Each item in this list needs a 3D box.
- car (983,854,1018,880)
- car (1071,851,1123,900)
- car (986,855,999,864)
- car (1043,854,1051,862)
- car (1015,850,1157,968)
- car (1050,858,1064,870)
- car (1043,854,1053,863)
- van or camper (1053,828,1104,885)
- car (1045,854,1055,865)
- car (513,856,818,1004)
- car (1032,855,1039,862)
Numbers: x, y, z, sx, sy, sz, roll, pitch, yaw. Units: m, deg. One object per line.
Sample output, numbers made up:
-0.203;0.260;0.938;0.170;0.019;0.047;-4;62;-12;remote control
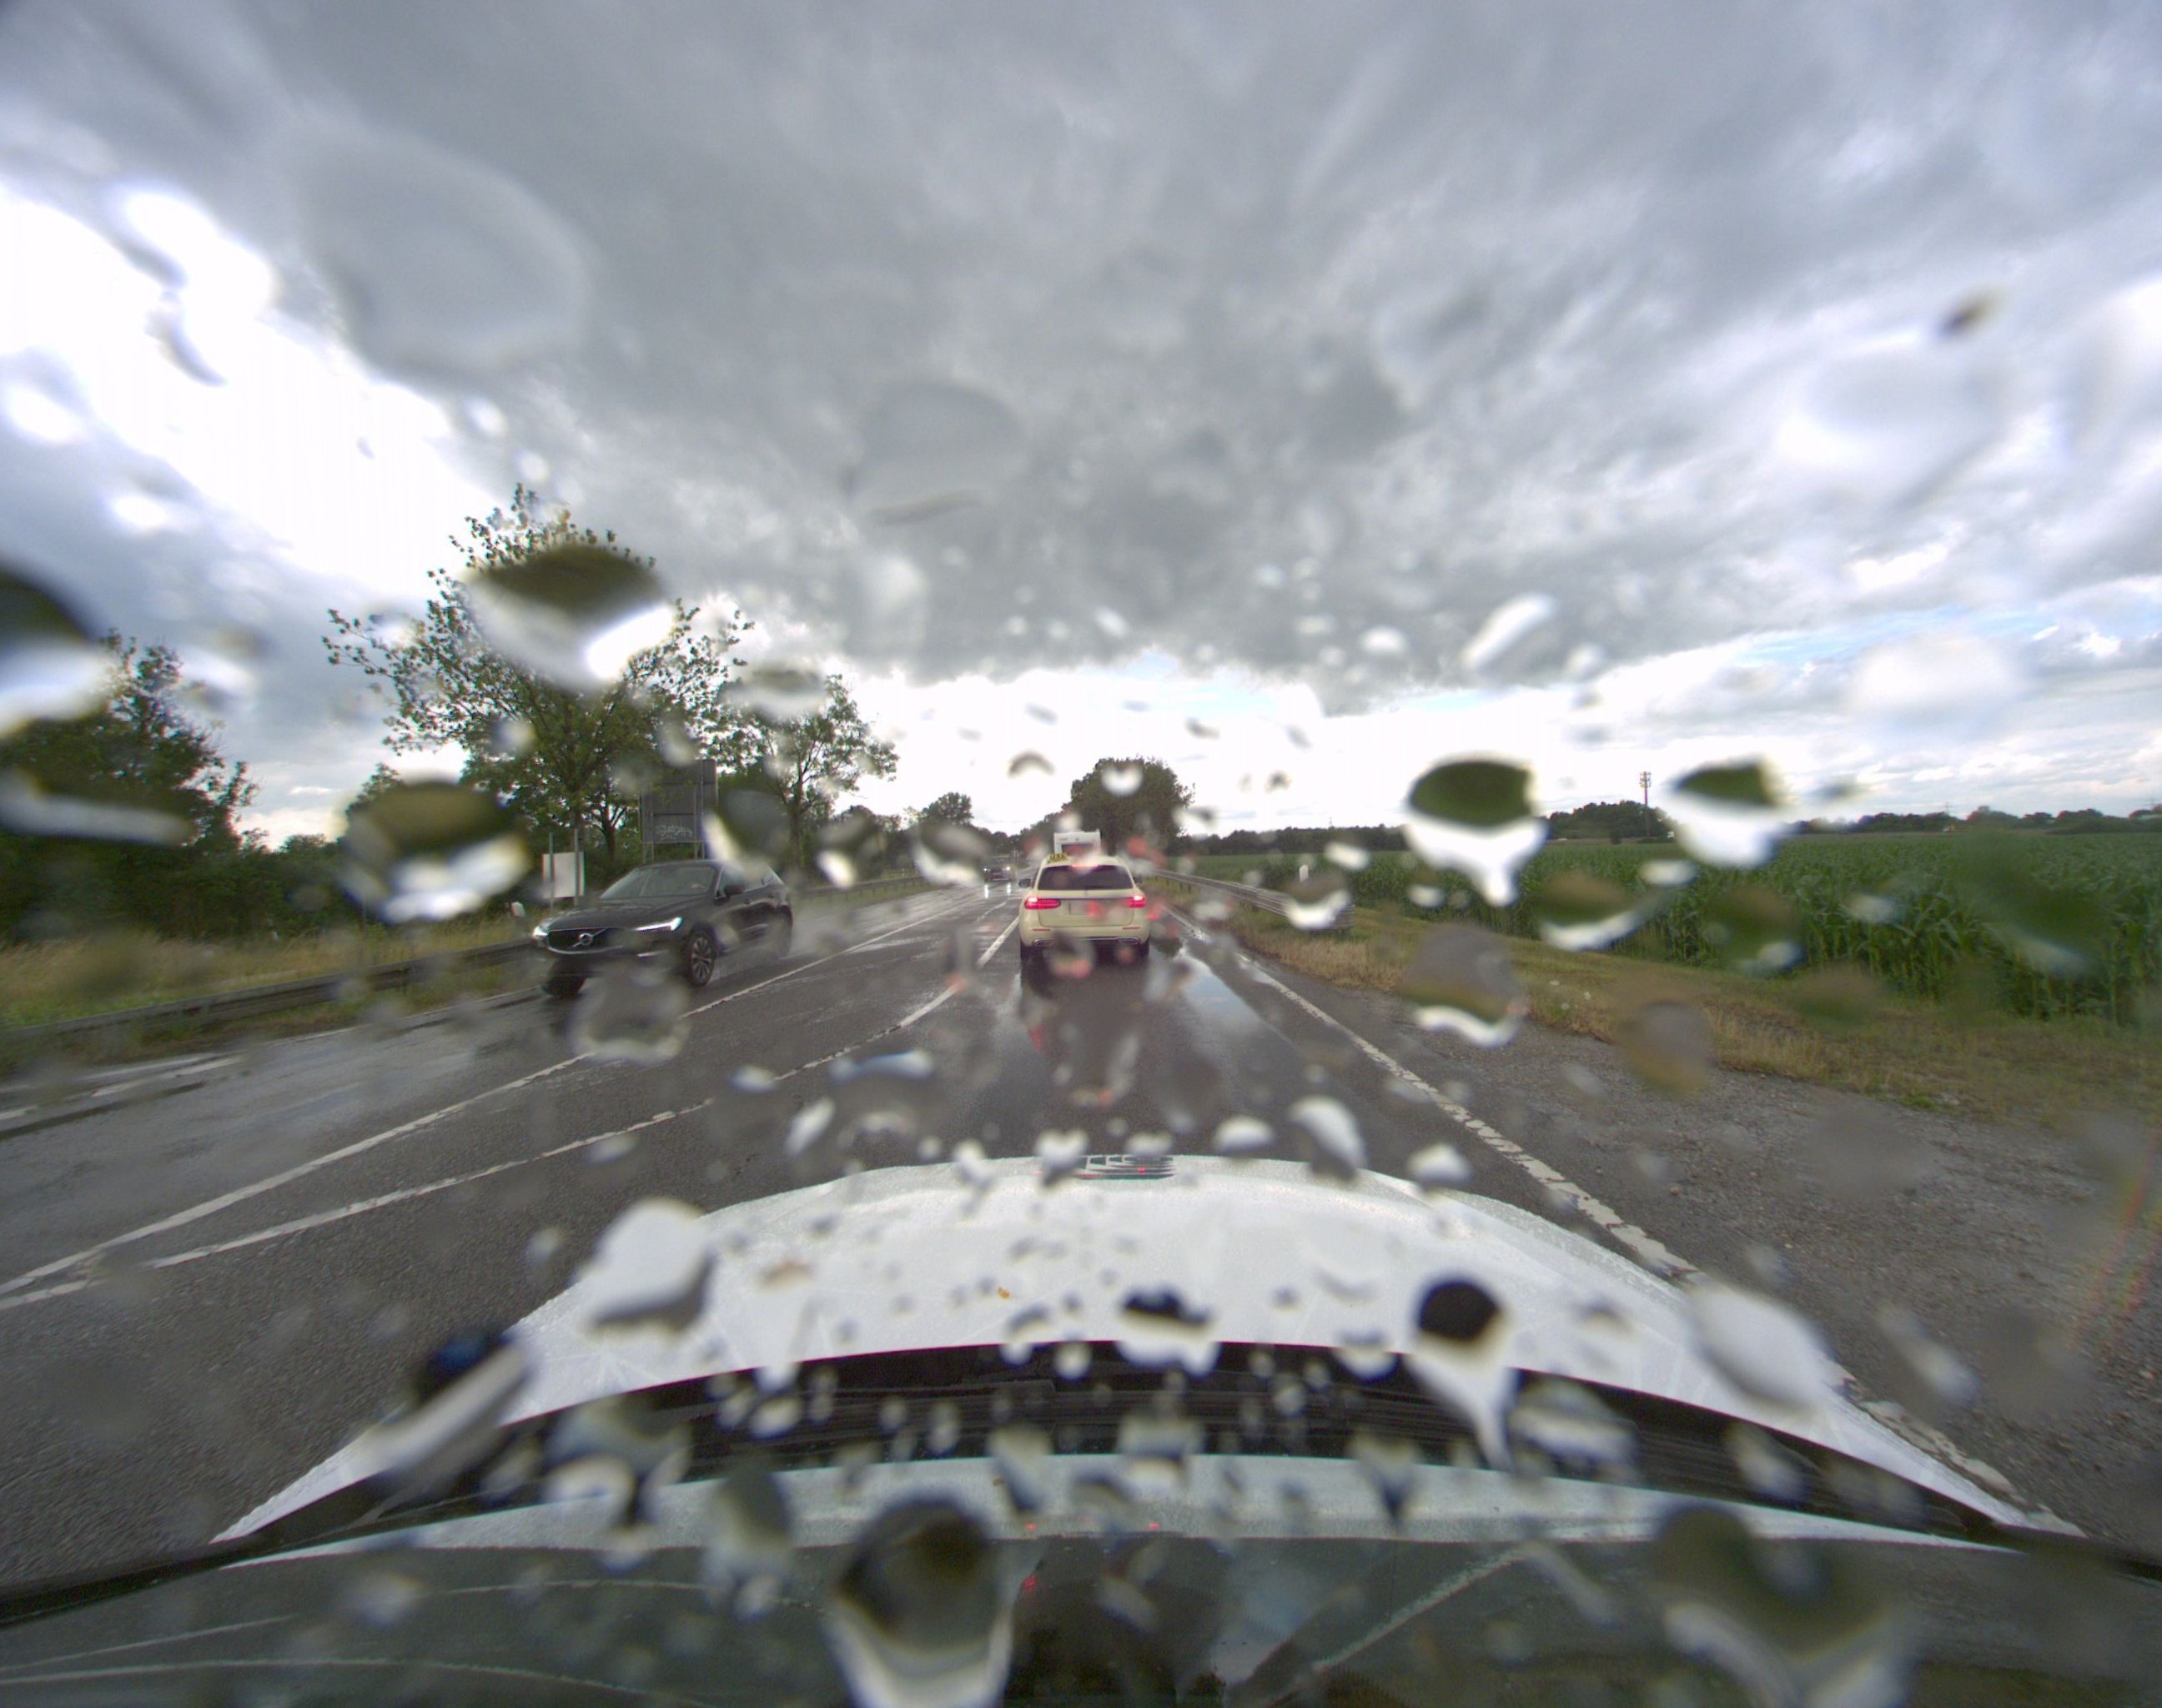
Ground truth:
-5.235;0.835;53.425;1.763;1.523;4.141;-3;0;1;car
0.516;0.682;28.238;1.622;1.529;3.932;-2;0;0;car
-17.700;1.118;163.120;1.986;1.651;4.001;-2;0;1;car
-8.464;0.999;202.766;1.989;2.013;3.996;-2;0;-3;car
0.106;0.711;12.644;1.818;1.485;4.146;-1;0;1;car
-4.156;1.752;140.139;1.991;2.013;3.991;-2;0;-7;car
-7.696;1.096;189.719;1.987;2.051;4.000;-2;0;1;car
-0.125;0.099;42.037;2.343;2.680;5.767;-2;0;0;van or camper
-6.414;1.144;169.282;1.990;2.013;3.993;-2;0;-5;car
-5.496;0.878;11.594;1.937;1.580;4.443;-3;0;1;car
-13.119;1.350;234.876;1.991;2.013;3.992;-1;0;-5;car
